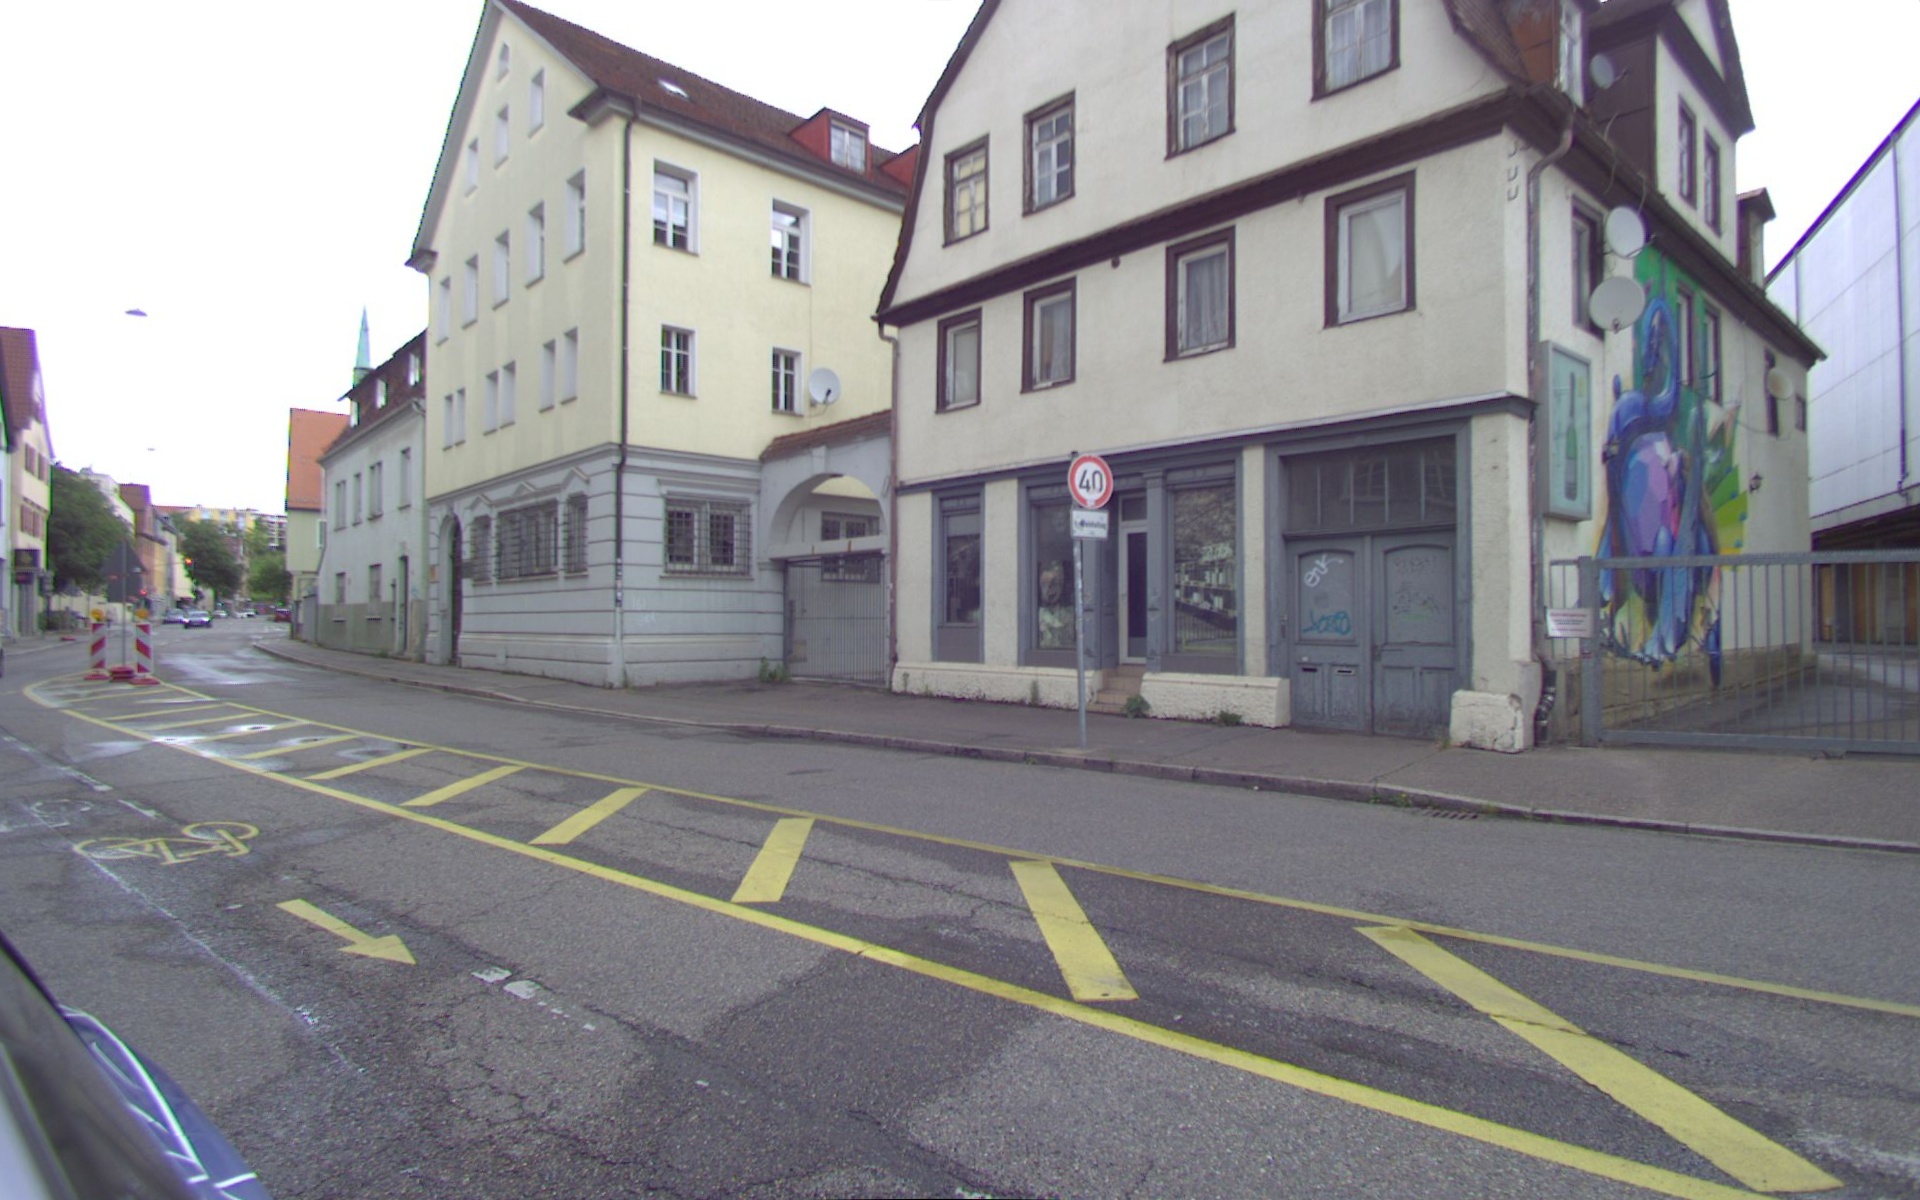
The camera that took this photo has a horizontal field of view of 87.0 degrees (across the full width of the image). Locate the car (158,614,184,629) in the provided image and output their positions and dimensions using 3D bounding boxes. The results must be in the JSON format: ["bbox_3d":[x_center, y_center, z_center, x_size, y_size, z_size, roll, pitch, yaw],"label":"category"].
[{"bbox_3d":[-84.964,2.300,109.008,2.001,1.567,4.010,2,-2,-35],"label":"car"}]

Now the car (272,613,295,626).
[{"bbox_3d":[-85.872,2.462,128.438,2.178,1.690,4.509,2,-2,-36],"label":"car"}]

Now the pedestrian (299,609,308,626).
[{"bbox_3d":[-81.253,2.152,125.259,0.823,2.029,0.847,1,-2,-36],"label":"pedestrian"}]

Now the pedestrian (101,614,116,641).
[{"bbox_3d":[-74.045,2.363,88.021,0.888,2.328,0.822,1,-2,-36],"label":"pedestrian"}]

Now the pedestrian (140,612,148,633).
[{"bbox_3d":[-85.156,2.366,105.606,0.650,2.131,0.647,1,-2,-36],"label":"pedestrian"}]

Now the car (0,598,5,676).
[{"bbox_3d":[-21.957,0.837,21.468,1.967,1.800,4.477,2,-1,-38],"label":"car"}]

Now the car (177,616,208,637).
[{"bbox_3d":[-66.665,2.285,87.947,1.967,1.691,4.010,0,0,-34],"label":"car"}]

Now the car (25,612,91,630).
[{"bbox_3d":[-77.422,1.750,86.908,3.932,1.475,2.006,0,0,-33],"label":"car"}]
